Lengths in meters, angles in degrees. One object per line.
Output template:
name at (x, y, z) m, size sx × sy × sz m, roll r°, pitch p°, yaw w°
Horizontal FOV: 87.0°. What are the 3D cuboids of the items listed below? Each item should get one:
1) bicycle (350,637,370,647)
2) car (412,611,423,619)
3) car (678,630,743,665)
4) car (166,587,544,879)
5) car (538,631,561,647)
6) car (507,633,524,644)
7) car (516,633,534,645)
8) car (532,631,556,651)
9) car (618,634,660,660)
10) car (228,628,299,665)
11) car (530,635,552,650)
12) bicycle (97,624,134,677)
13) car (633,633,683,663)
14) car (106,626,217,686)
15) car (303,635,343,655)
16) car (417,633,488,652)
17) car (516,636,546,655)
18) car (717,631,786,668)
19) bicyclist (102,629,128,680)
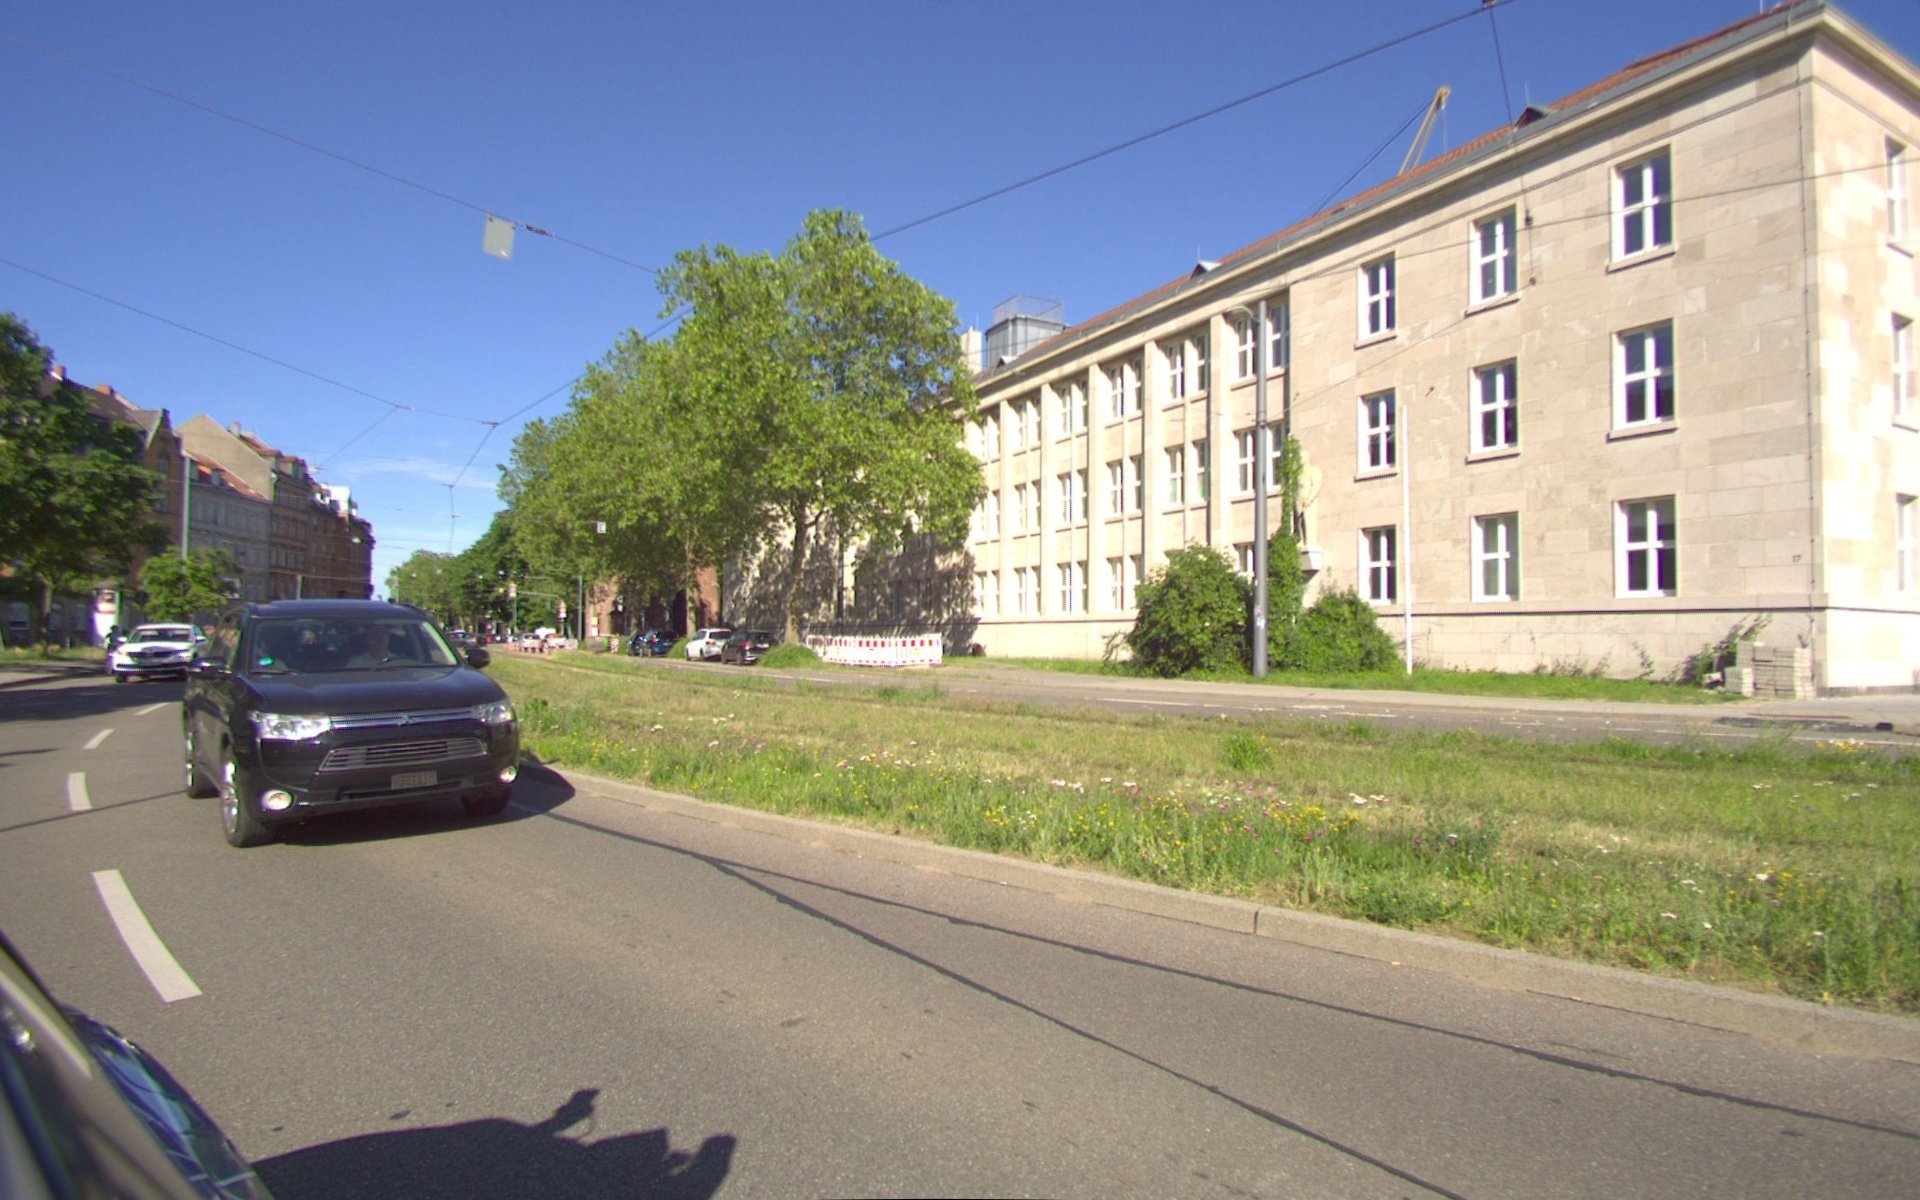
bicycle at (-72.622, 5.099, 122.471) m, size 1.889 × 1.146 × 0.847 m, roll 2°, pitch -3°, yaw -13°
car at (-102.673, 2.914, 191.388) m, size 1.768 × 1.440 × 4.390 m, roll 2°, pitch -3°, yaw -28°
car at (-12.197, 2.290, 49.262) m, size 1.804 × 1.600 × 4.408 m, roll 3°, pitch -3°, yaw -31°
car at (-5.136, 0.828, 8.247) m, size 1.813 × 1.695 × 4.649 m, roll 1°, pitch -2°, yaw -41°
car at (-42.282, 4.041, 104.261) m, size 1.750 × 1.586 × 3.688 m, roll 2°, pitch -5°, yaw -29°
car at (-62.405, 5.441, 141.975) m, size 1.765 × 1.563 × 4.320 m, roll 1°, pitch -3°, yaw -28°
car at (-56.722, 5.077, 131.867) m, size 1.765 × 1.563 × 4.320 m, roll 1°, pitch -3°, yaw -28°
car at (-46.649, 4.602, 113.543) m, size 1.889 × 2.113 × 4.606 m, roll 2°, pitch -3°, yaw -30°
car at (-20.545, 3.000, 64.630) m, size 1.648 × 1.559 × 4.201 m, roll 2°, pitch -2°, yaw -30°
car at (-31.636, 2.098, 46.096) m, size 1.965 × 1.630 × 4.277 m, roll 1°, pitch -2°, yaw -26°
car at (-44.886, 4.555, 108.369) m, size 1.765 × 1.563 × 3.872 m, roll 2°, pitch -3°, yaw -29°
bicycle at (-27.700, 1.654, 33.223) m, size 0.431 × 1.651 × 1.945 m, roll 5°, pitch -4°, yaw -28°
car at (-17.806, 2.796, 59.587) m, size 1.804 × 1.651 × 4.409 m, roll 2°, pitch -3°, yaw -30°
car at (-23.494, 1.599, 29.947) m, size 1.771 × 1.648 × 4.408 m, roll 1°, pitch -2°, yaw -28°
car at (-45.696, 3.213, 72.548) m, size 1.861 × 1.438 × 4.384 m, roll 2°, pitch -3°, yaw -39°
car at (-41.198, 3.483, 82.243) m, size 4.897 × 1.464 × 1.833 m, roll 1°, pitch -3°, yaw 4°
car at (-33.950, 3.567, 80.011) m, size 1.804 × 1.464 × 4.184 m, roll 3°, pitch -3°, yaw -27°
car at (-9.006, 2.102, 43.557) m, size 1.804 × 1.504 × 4.195 m, roll 1°, pitch -2°, yaw -28°
bicyclist at (-27.671, 1.776, 33.153) m, size 0.431 × 1.651 × 0.781 m, roll 2°, pitch -3°, yaw -28°
